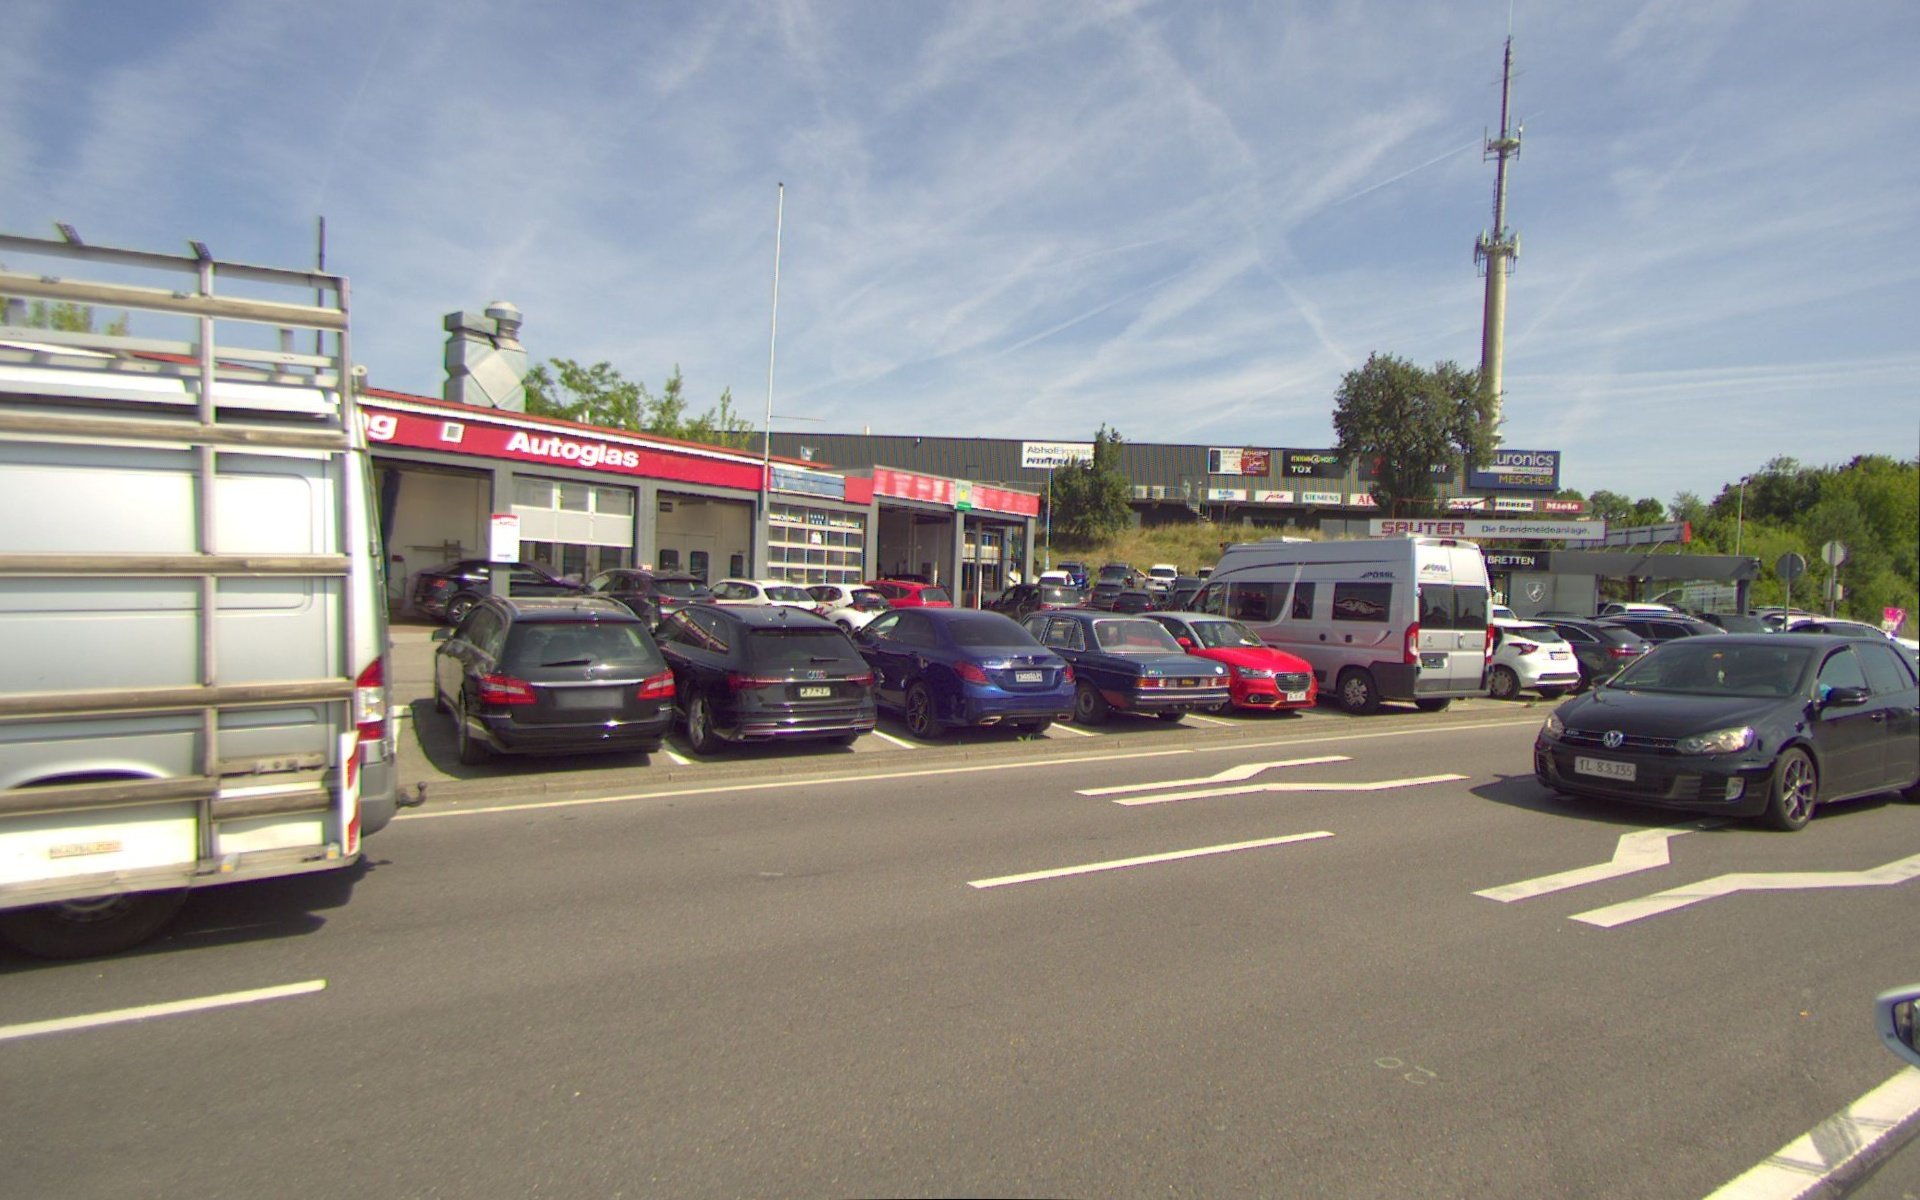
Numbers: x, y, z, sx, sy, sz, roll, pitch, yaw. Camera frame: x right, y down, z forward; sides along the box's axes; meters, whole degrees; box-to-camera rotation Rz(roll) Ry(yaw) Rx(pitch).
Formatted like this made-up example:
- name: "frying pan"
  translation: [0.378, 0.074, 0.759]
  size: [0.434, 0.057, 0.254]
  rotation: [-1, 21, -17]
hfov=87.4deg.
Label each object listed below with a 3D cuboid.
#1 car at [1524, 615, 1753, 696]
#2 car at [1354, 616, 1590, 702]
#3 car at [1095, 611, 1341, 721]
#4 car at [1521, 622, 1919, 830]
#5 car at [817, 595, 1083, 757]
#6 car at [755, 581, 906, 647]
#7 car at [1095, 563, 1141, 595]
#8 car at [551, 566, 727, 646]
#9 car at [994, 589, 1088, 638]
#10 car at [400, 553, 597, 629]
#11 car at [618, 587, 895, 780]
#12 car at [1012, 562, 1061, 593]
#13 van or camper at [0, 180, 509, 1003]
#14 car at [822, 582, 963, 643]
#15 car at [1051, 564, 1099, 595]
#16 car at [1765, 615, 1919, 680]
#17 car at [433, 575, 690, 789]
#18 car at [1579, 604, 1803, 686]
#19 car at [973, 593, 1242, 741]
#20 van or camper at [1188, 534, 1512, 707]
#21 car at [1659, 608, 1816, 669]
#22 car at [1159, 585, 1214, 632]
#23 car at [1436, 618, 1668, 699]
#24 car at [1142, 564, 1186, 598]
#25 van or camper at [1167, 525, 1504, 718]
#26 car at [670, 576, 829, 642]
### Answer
- name: "car"
  translation: [14.884, 1.164, 22.239]
  size: [1.822, 1.560, 3.797]
  rotation: [1, 0, -31]
- name: "car"
  translation: [10.009, 1.091, 19.894]
  size: [1.822, 1.467, 3.797]
  rotation: [1, 0, -31]
- name: "car"
  translation: [3.940, 0.943, 15.861]
  size: [1.790, 1.500, 3.578]
  rotation: [1, -1, -29]
- name: "car"
  translation: [6.747, 0.923, 8.607]
  size: [3.879, 1.428, 1.659]
  rotation: [1, -2, -30]
- name: "car"
  translation: [-0.281, 0.794, 12.608]
  size: [1.688, 1.577, 3.687]
  rotation: [0, 2, -31]
- name: "car"
  translation: [-3.426, 0.325, 26.328]
  size: [3.768, 1.609, 1.762]
  rotation: [1, 0, 37]
- name: "car"
  translation: [8.199, -1.060, 51.784]
  size: [1.702, 1.470, 3.749]
  rotation: [2, 0, 18]
- name: "car"
  translation: [-6.824, 0.111, 21.215]
  size: [3.892, 1.553, 1.760]
  rotation: [1, 0, 41]
- name: "car"
  translation: [2.771, 0.461, 35.097]
  size: [1.743, 1.609, 3.809]
  rotation: [1, 0, -22]
- name: "car"
  translation: [-11.171, -0.180, 24.445]
  size: [3.986, 1.694, 1.888]
  rotation: [1, 0, -43]
- name: "car"
  translation: [-2.429, 0.758, 11.188]
  size: [1.782, 1.505, 3.823]
  rotation: [1, 4, -32]
- name: "car"
  translation: [4.109, -1.187, 53.239]
  size: [1.702, 1.470, 3.749]
  rotation: [2, 0, 18]
- name: "van or camper"
  translation: [-5.166, -0.046, 4.142]
  size: [5.833, 3.096, 2.197]
  rotation: [1, -1, -30]
- name: "car"
  translation: [-1.940, 0.314, 28.415]
  size: [3.768, 1.609, 1.762]
  rotation: [1, 0, 37]
- name: "car"
  translation: [6.056, -1.057, 52.538]
  size: [1.702, 1.470, 3.749]
  rotation: [2, 0, 18]
- name: "car"
  translation: [26.058, 1.315, 29.520]
  size: [2.089, 1.716, 4.530]
  rotation: [1, 0, 16]
- name: "car"
  translation: [-4.372, 0.643, 10.540]
  size: [1.752, 1.505, 4.434]
  rotation: [1, 4, -32]
- name: "car"
  translation: [16.825, 0.984, 23.288]
  size: [1.822, 1.697, 3.797]
  rotation: [1, 0, -31]
- name: "car"
  translation: [1.903, 0.810, 14.014]
  size: [1.689, 1.505, 3.687]
  rotation: [1, 4, -32]
- name: "van or camper"
  translation: [7.431, 0.311, 19.966]
  size: [2.262, 2.912, 5.864]
  rotation: [0, 1, -30]
- name: "car"
  translation: [23.702, 1.112, 30.810]
  size: [1.806, 1.716, 3.829]
  rotation: [1, 0, -1]
- name: "car"
  translation: [8.251, 0.301, 36.805]
  size: [1.733, 1.609, 3.831]
  rotation: [1, 0, 10]
- name: "car"
  translation: [12.290, 1.150, 21.066]
  size: [1.822, 1.467, 3.797]
  rotation: [1, 0, -31]
- name: "car"
  translation: [10.458, -0.955, 51.402]
  size: [1.702, 1.558, 3.749]
  rotation: [2, 0, 18]
- name: "van or camper"
  translation: [6.151, 0.288, 17.235]
  size: [2.183, 2.768, 5.222]
  rotation: [1, 0, -29]
- name: "car"
  translation: [-5.056, 0.193, 23.940]
  size: [3.771, 1.451, 1.761]
  rotation: [1, 0, 40]
